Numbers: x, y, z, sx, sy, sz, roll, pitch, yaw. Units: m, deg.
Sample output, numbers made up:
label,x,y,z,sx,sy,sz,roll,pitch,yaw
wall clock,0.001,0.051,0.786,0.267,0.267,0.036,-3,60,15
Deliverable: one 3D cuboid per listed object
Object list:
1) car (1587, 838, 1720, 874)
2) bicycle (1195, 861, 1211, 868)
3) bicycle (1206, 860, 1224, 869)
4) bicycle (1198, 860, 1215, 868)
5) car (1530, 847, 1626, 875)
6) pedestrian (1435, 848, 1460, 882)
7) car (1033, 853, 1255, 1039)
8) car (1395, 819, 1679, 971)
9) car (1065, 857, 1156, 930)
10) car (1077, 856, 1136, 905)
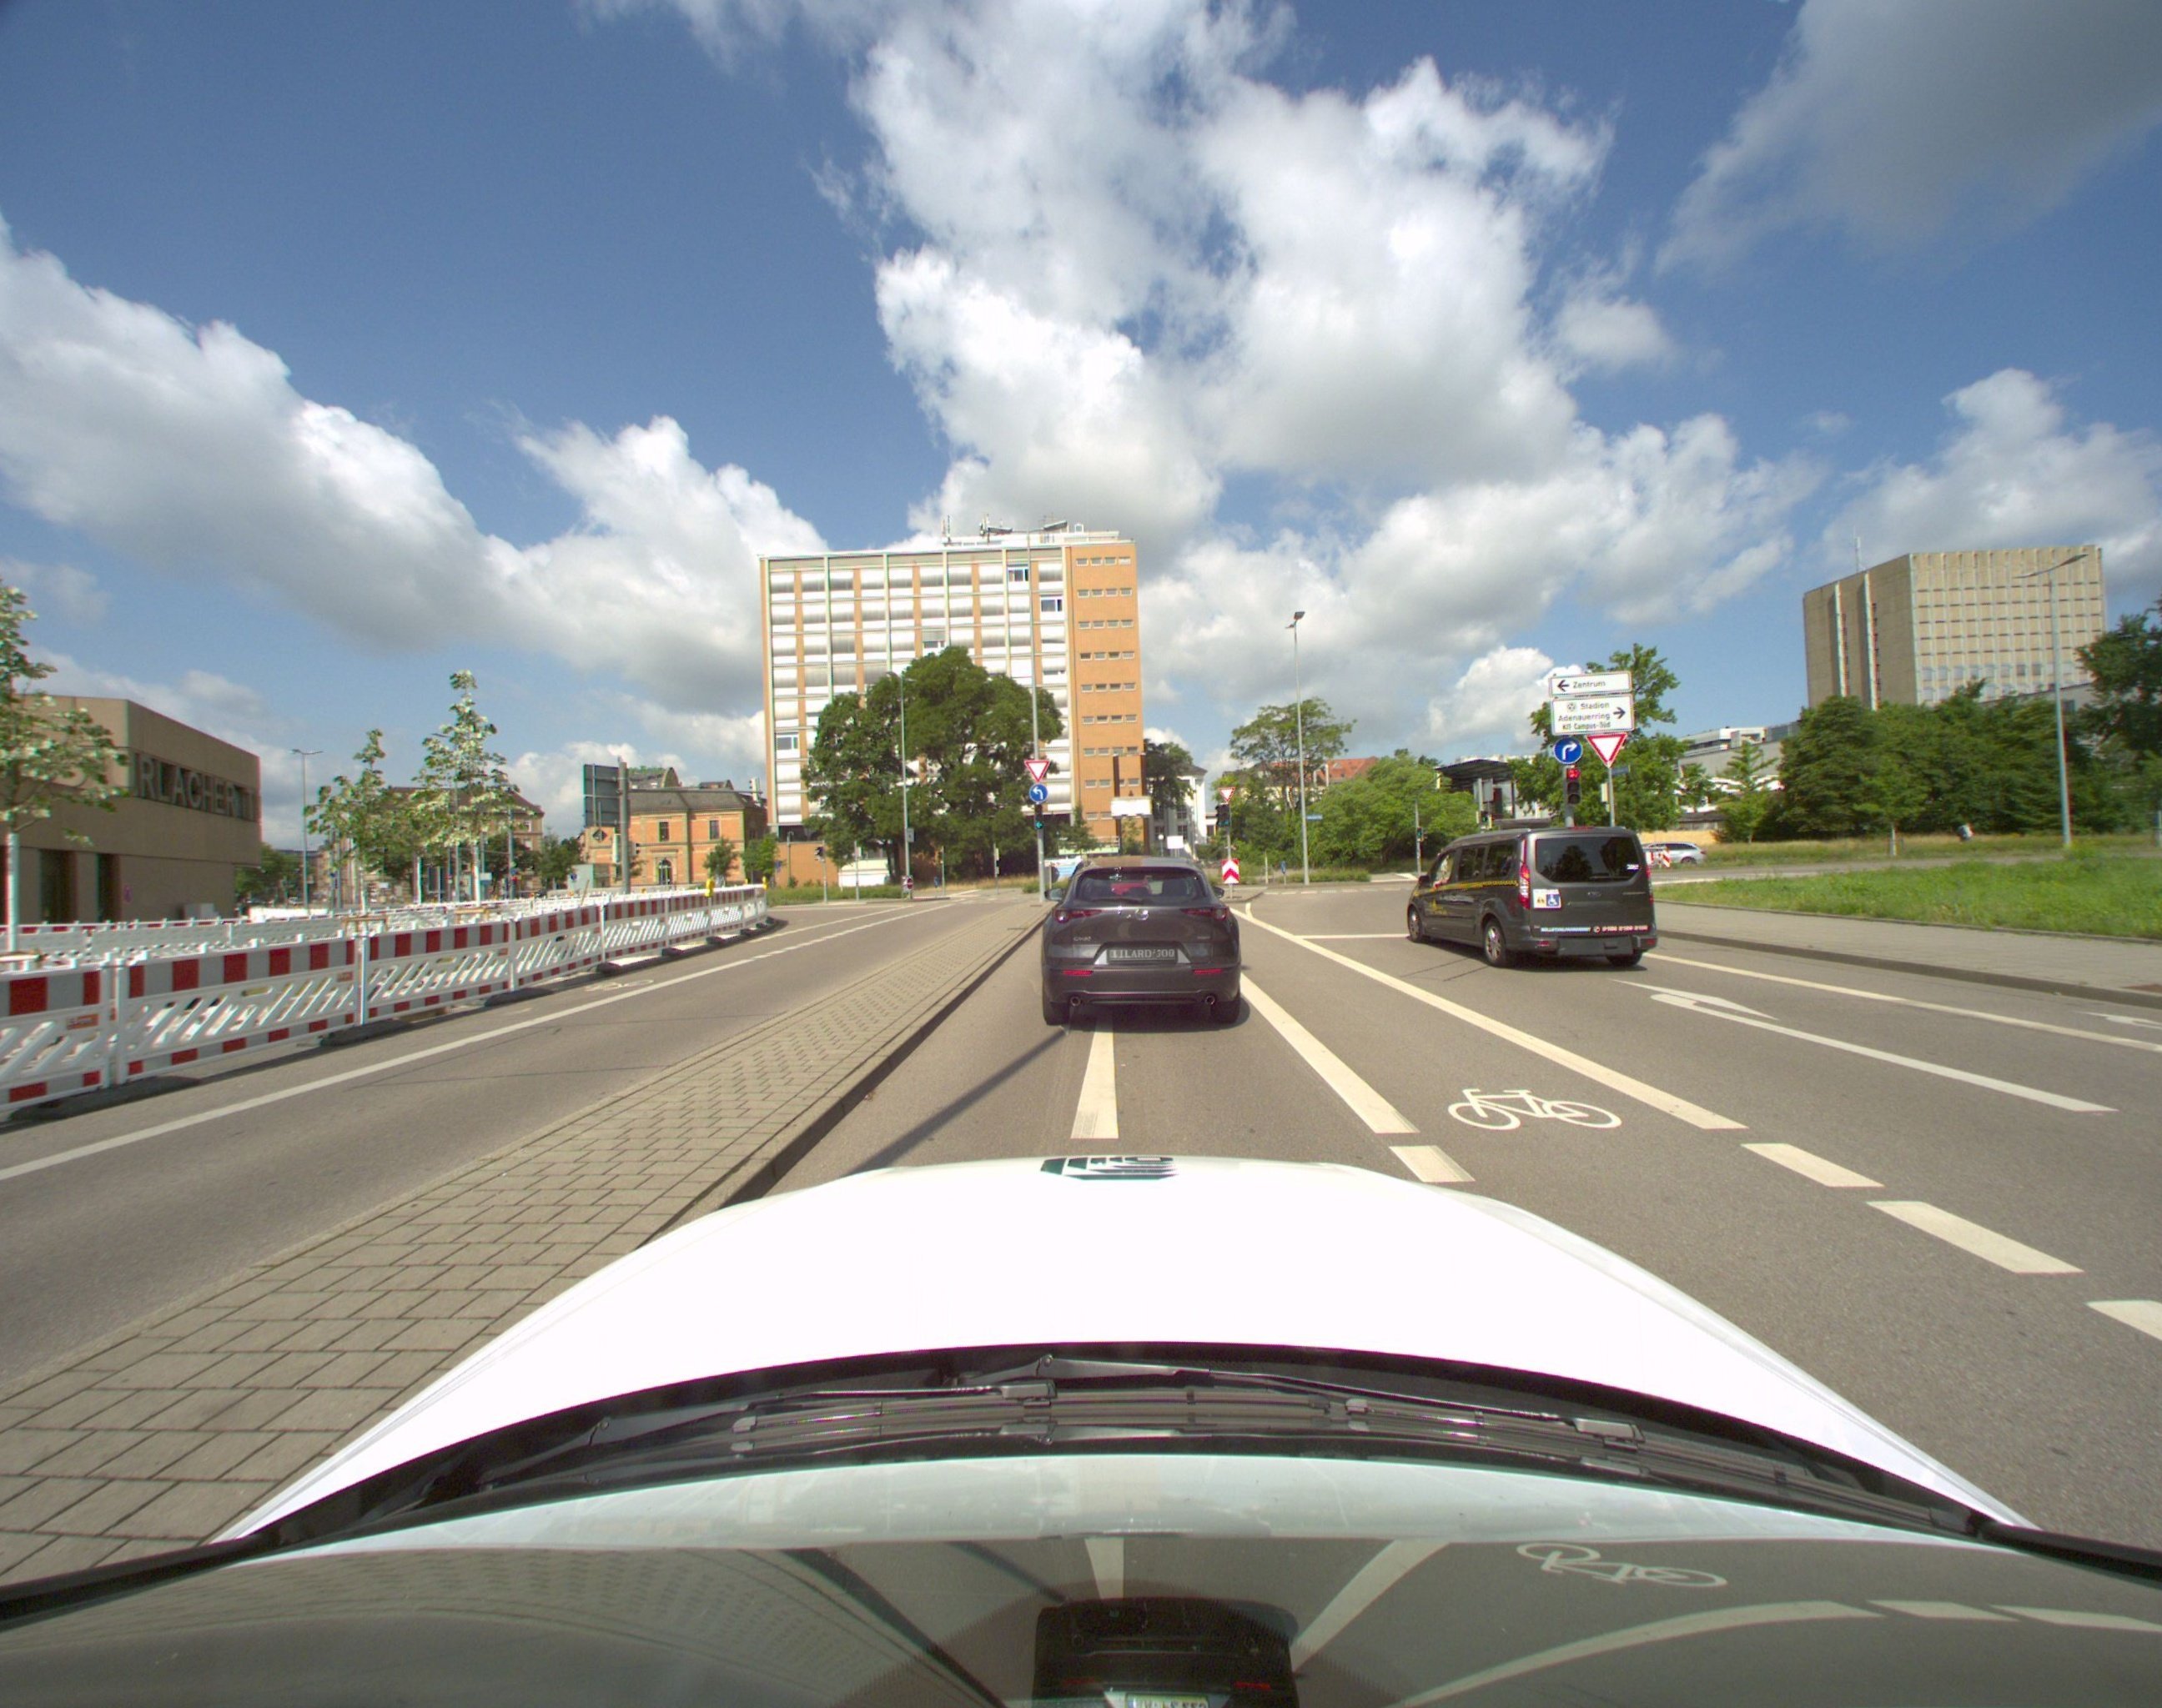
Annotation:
label,x,y,z,sx,sy,sz,roll,pitch,yaw
car,27.231,0.123,38.887,4.740,1.442,2.065,-3,-3,6
bicycle,16.959,1.424,113.215,2.048,0.936,0.804,-3,-1,1
bicycle,17.030,1.331,103.596,2.048,0.936,0.804,-3,-1,1
bicycle,16.694,1.380,108.359,2.048,0.936,0.804,-3,-1,1
car,27.999,0.392,45.975,4.129,1.377,2.002,-3,0,3
pedestrian,20.892,0.630,46.471,0.696,1.857,1.177,-2,-2,-8
car,0.575,0.759,8.717,1.799,1.508,4.206,0,0,2
car,6.352,0.506,12.099,1.840,1.785,4.676,-1,0,4
car,0.747,0.811,18.399,1.808,1.439,4.072,-1,-1,4
car,0.922,0.878,28.496,1.840,1.472,4.338,-3,-1,3
